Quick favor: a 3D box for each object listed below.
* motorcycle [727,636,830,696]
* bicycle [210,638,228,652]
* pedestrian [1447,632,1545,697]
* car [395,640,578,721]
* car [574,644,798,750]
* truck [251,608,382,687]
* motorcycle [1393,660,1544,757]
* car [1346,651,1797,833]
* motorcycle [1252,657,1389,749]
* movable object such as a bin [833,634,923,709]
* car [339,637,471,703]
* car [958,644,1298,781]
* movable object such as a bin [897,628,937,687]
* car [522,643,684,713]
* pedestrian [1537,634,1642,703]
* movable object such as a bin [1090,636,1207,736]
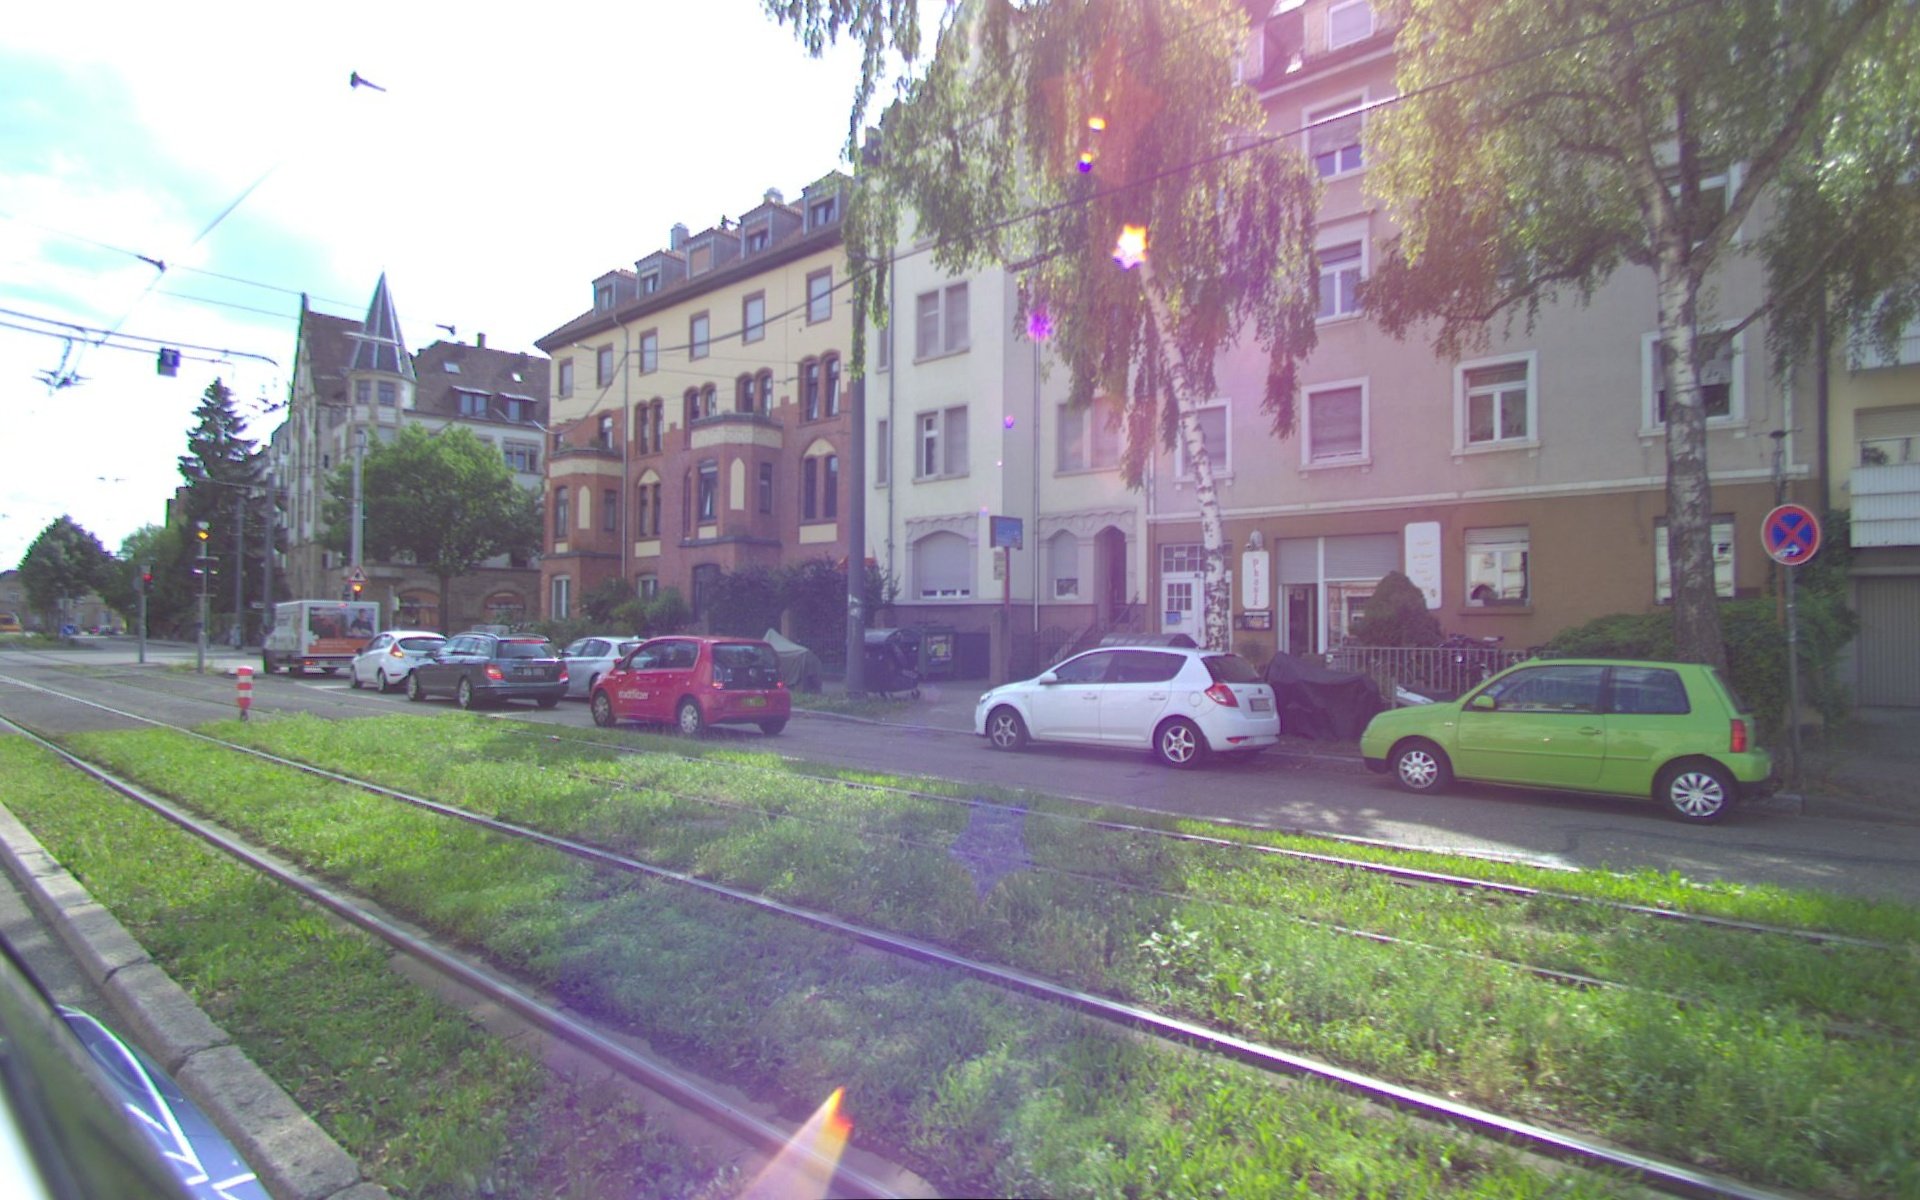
[{"bbox_3d":[-3.972,1.413,22.096,2.290,1.252,0.892,-1,-2,36],"label":"motorcycle"},{"bbox_3d":[-51.506,3.116,70.357,0.616,0.979,2.337,2,-3,-45],"label":"bicycle"},{"bbox_3d":[10.081,1.187,19.000,1.066,1.147,2.378,-2,-3,42],"label":"pedestrian"},{"bbox_3d":[-9.566,1.548,20.263,4.512,1.366,1.735,-1,-4,43],"label":"car"},{"bbox_3d":[-4.274,1.391,15.504,3.692,1.397,1.562,-2,-3,42],"label":"car"},{"bbox_3d":[-20.478,1.475,32.046,2.159,2.231,6.617,3,-4,-44],"label":"truck"},{"bbox_3d":[6.377,1.328,12.743,1.632,1.050,0.494,0,2,41],"label":"motorcycle"},{"bbox_3d":[5.963,1.253,10.115,3.614,1.443,1.577,-2,-3,43],"label":"car"},{"bbox_3d":[4.957,1.390,13.963,1.632,1.160,0.727,-1,-3,40],"label":"motorcycle"},{"bbox_3d":[-1.658,1.414,20.433,1.521,1.377,0.941,-2,2,41],"label":"movable object such as a bin"},{"bbox_3d":[-13.607,1.673,24.707,1.734,1.425,4.137,4,-4,-44],"label":"car"},{"bbox_3d":[2.078,1.358,13.333,4.225,1.489,1.627,-2,-4,42],"label":"car"},{"bbox_3d":[-1.022,1.360,24.011,0.698,1.372,0.666,-2,-2,38],"label":"movable object such as a bin"},{"bbox_3d":[-7.939,1.662,22.364,3.995,1.366,1.736,-2,-3,43],"label":"car"},{"bbox_3d":[11.198,1.173,17.970,1.130,1.138,2.485,-2,-3,43],"label":"pedestrian"},{"bbox_3d":[2.945,1.307,15.856,1.521,1.440,0.941,-2,0,41],"label":"movable object such as a bin"}]
